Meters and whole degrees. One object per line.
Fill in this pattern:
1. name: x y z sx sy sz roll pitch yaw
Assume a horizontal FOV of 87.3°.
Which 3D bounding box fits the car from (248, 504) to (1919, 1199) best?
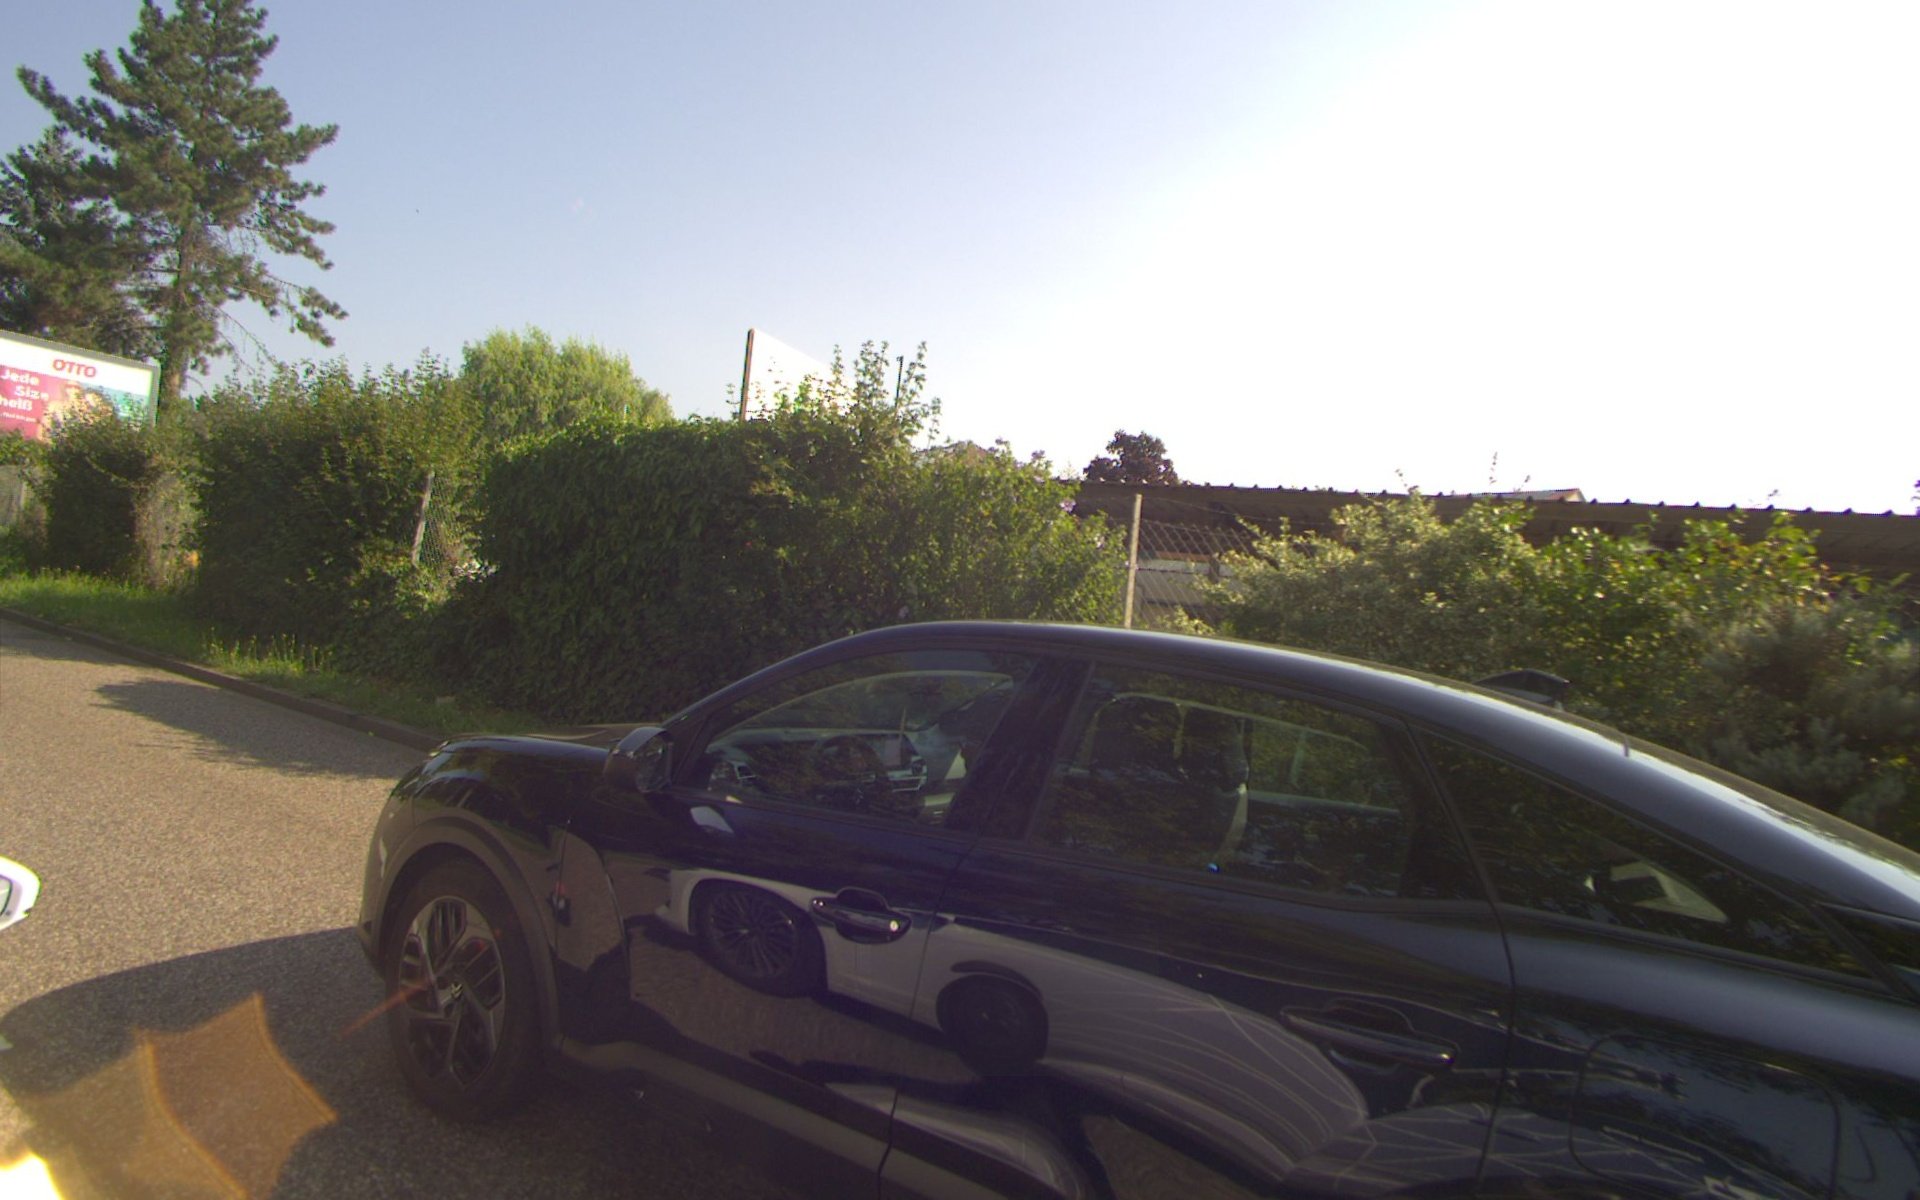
1. car: 0.009 0.730 2.754 4.185 1.608 1.646 6 0 32
